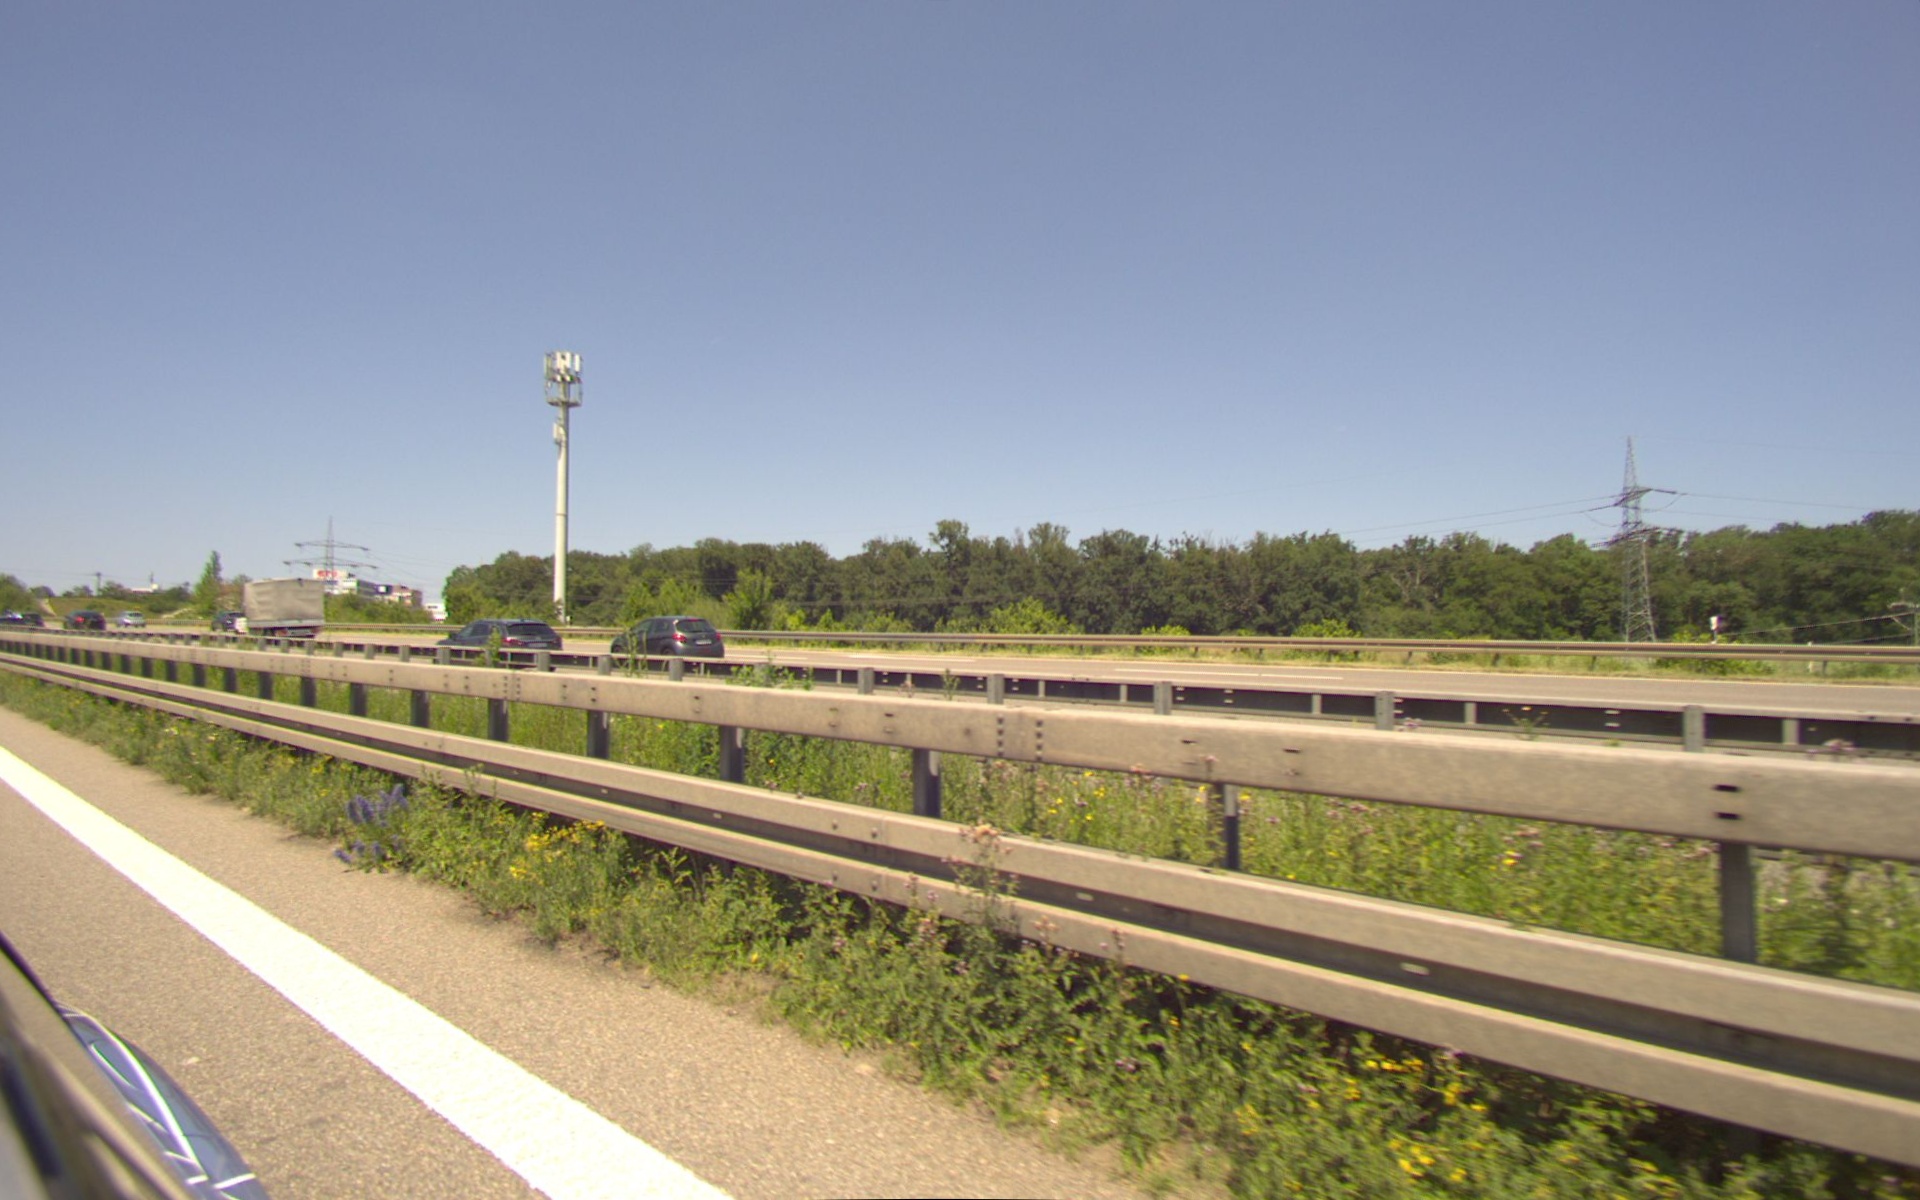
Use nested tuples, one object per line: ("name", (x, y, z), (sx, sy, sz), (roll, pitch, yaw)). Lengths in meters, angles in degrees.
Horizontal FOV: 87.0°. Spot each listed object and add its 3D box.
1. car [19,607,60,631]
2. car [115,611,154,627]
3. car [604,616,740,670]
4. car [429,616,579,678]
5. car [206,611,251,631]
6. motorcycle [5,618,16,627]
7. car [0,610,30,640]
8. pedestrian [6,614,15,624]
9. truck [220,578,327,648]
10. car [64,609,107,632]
("car", (-65.953, 1.348, 72.505), (4.083, 1.637, 1.658), (0, 0, 40))
("car", (-78.257, 1.781, 95.906), (4.367, 1.543, 2.084), (0, 0, 39))
("car", (-8.293, 1.182, 28.999), (3.998, 1.431, 1.885), (-1, -1, 41))
("car", (-12.030, 1.167, 26.539), (4.857, 1.475, 1.771), (-1, -1, 41))
("car", (-57.571, 1.648, 79.593), (4.218, 1.543, 1.829), (0, 0, 38))
("motorcycle", (-122.095, 2.889, 130.148), (2.485, 1.023, 0.651), (0, 0, 39))
("car", (-55.441, 1.431, 58.595), (4.826, 1.637, 1.731), (0, 0, 39))
("pedestrian", (-122.151, 2.464, 130.187), (1.034, 1.326, 0.644), (0, 0, 39))
("truck", (-34.392, 0.613, 50.567), (7.653, 3.302, 2.352), (0, 0, 39))
("car", (-67.173, 1.574, 77.684), (4.907, 1.668, 1.828), (0, 0, 41))
